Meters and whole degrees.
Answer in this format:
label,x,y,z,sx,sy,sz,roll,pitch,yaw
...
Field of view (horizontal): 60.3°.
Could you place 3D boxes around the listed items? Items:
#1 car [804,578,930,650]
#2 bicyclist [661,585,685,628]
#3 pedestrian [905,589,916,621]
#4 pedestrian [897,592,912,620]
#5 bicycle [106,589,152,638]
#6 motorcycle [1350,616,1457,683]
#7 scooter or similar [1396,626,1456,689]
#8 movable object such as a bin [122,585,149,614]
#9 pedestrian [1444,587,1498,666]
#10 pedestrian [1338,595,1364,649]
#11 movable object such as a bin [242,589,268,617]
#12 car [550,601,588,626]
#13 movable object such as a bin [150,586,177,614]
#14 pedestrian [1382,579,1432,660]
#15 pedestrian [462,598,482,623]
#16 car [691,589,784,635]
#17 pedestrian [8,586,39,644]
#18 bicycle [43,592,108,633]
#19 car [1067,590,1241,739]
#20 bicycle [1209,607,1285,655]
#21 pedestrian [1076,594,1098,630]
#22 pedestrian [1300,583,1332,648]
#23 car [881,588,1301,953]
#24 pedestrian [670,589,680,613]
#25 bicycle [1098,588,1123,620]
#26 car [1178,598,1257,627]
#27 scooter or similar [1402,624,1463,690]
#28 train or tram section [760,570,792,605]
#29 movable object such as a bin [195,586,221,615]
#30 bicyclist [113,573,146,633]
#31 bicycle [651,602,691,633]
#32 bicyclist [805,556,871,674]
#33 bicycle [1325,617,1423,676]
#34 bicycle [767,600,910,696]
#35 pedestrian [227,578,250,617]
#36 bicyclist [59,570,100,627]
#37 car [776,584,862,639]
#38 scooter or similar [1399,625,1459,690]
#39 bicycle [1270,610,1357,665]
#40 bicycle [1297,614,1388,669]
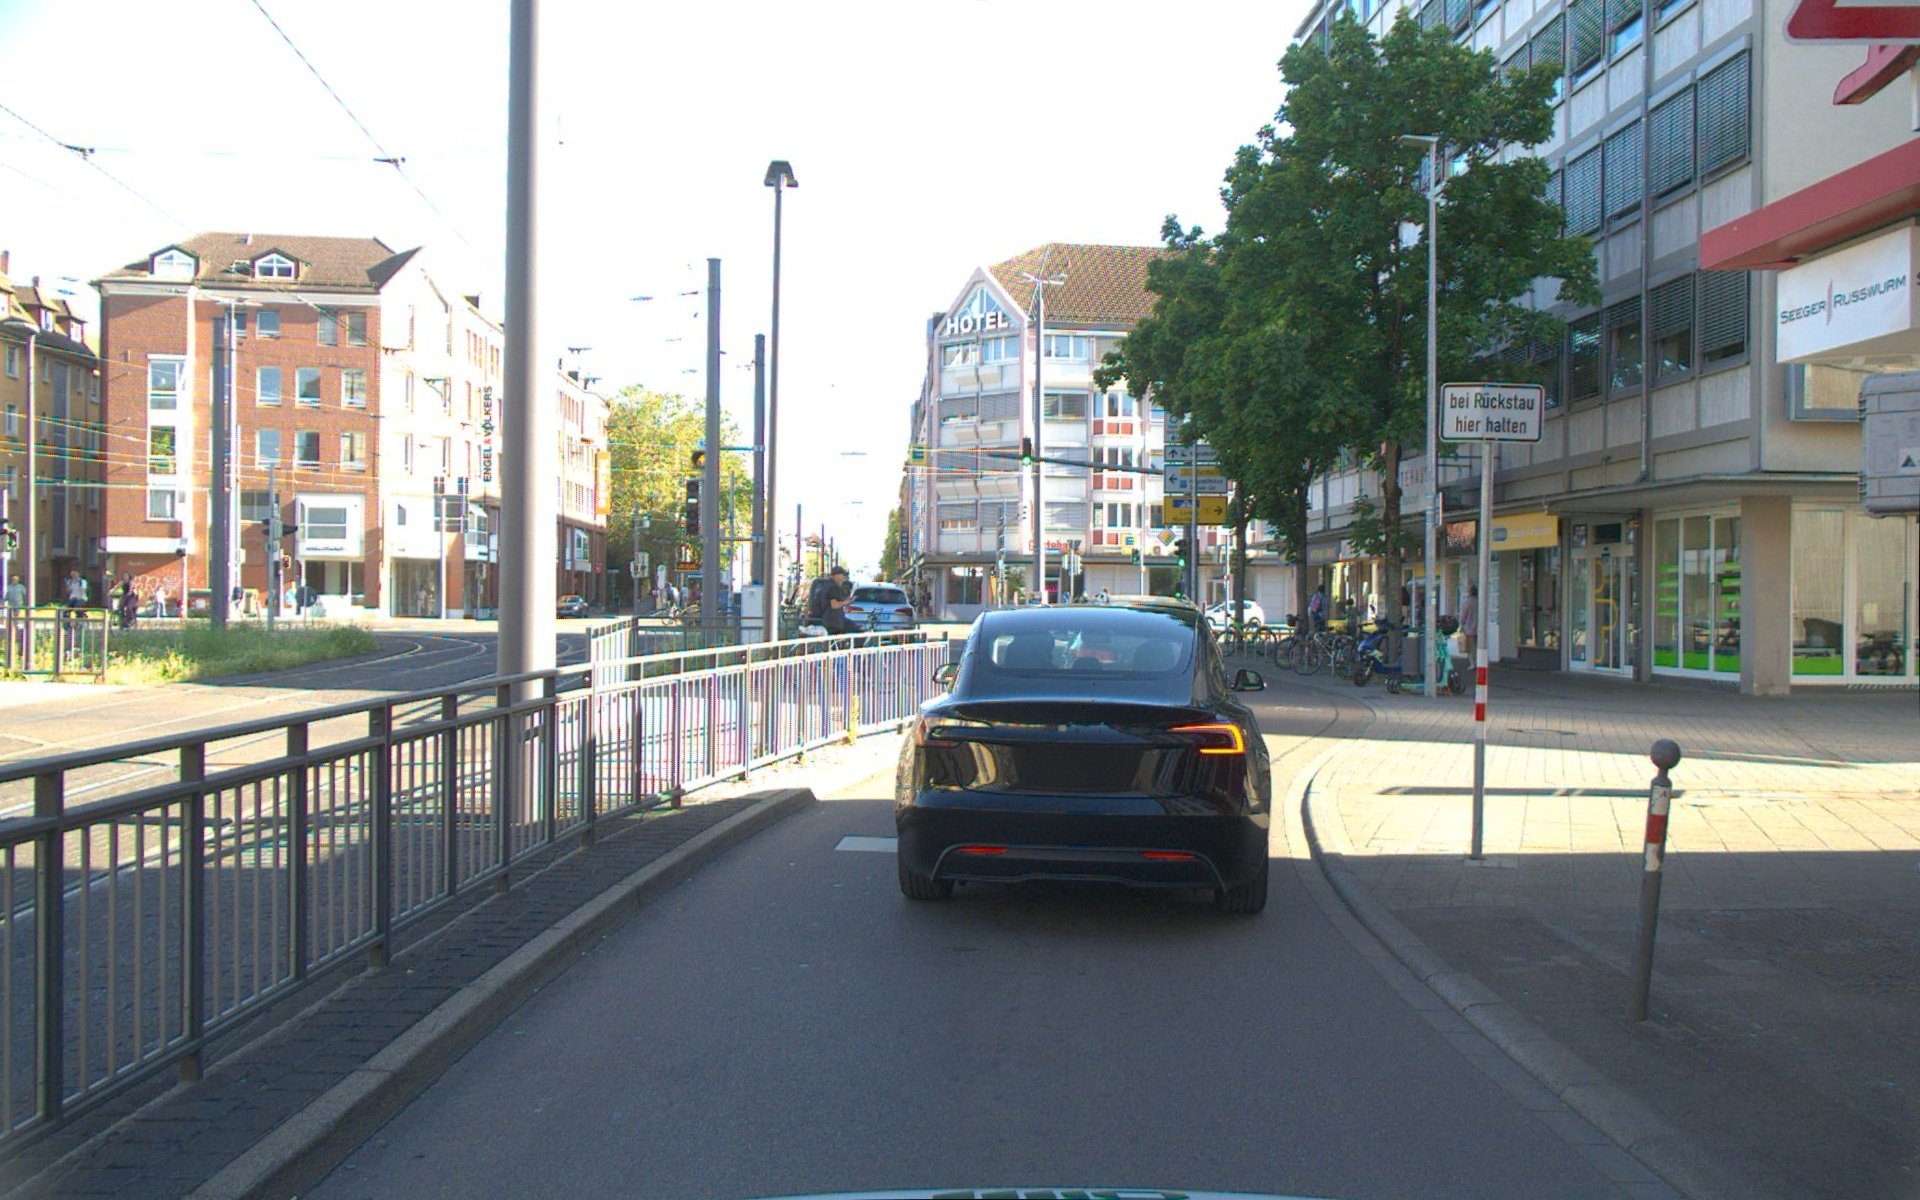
label,x,y,z,sx,sy,sz,roll,pitch,yaw
car,-2.305,0.328,40.324,1.818,1.663,3.455,1,0,-27
bicyclist,-11.939,0.268,68.827,0.609,1.803,0.817,1,-1,-44
pedestrian,-2.820,0.269,94.701,0.614,1.813,0.917,1,-1,-3
pedestrian,-3.614,0.387,107.857,0.896,1.785,0.839,1,-1,-2
bicycle,-23.267,0.375,46.352,0.563,1.313,2.022,1,0,-10
motorcycle,7.841,0.870,29.268,1.751,1.149,0.504,1,-1,-3
scooter or similar,7.720,0.950,27.387,0.943,1.045,0.160,0,0,2
movable object such as a bin,-42.806,-0.029,85.871,0.978,1.462,1.093,1,0,-10
pedestrian,10.671,0.549,34.577,0.826,1.630,0.880,1,-1,-1
pedestrian,10.586,0.585,44.831,0.631,1.447,0.621,1,-1,11
movable object such as a bin,-36.968,0.149,86.705,0.978,1.462,1.093,1,0,-10
car,-24.521,0.826,103.806,1.782,1.479,3.972,-1,0,-6
movable object such as a bin,-41.514,0.003,86.169,0.978,1.462,1.093,1,0,-10
pedestrian,9.748,0.417,36.099,0.826,1.737,0.880,1,-1,-1
pedestrian,-31.425,0.672,106.417,0.866,1.595,0.863,1,-1,21
car,-7.985,0.420,59.211,1.715,1.578,3.422,1,0,-41
pedestrian,-28.413,0.447,50.180,0.613,1.717,0.703,1,1,-13
bicycle,-23.229,0.329,43.473,0.636,1.031,1.885,1,0,1
car,2.109,0.631,18.951,1.727,1.469,4.531,1,0,4
bicycle,7.349,0.797,42.430,1.851,1.177,0.480,-1,-1,0
pedestrian,5.846,0.547,76.214,0.766,1.604,0.864,1,1,-16
pedestrian,9.785,0.422,45.478,0.825,1.751,0.880,1,-1,12
car,0.756,0.700,8.976,1.752,1.476,3.943,1,1,6
pedestrian,-18.764,0.093,108.827,0.574,1.557,0.634,1,-1,-18
bicycle,6.971,0.175,76.509,0.573,1.489,1.679,0,0,-16
car,13.470,0.660,86.576,3.766,1.457,1.801,1,-2,-6
scooter or similar,7.710,0.926,26.989,0.943,1.061,0.160,0,0,2
train or tram section,-19.865,-1.311,178.885,2.674,3.604,10.080,1,0,-3
movable object such as a bin,-39.274,0.015,86.371,0.978,1.462,1.093,1,0,-10
bicyclist,-23.266,0.086,46.337,0.577,1.678,0.805,1,-1,-9
bicycle,-12.038,0.732,68.923,0.624,1.245,2.008,1,-1,-44
bicyclist,-1.640,0.206,22.204,0.673,1.550,0.629,1,-1,-28
bicycle,7.854,0.882,31.384,1.817,1.074,0.398,-1,0,-12
bicycle,-1.625,0.639,22.209,1.800,1.233,0.635,1,-1,-29
pedestrian,-32.591,-0.108,74.700,0.682,1.740,0.929,1,-1,-7
bicyclist,-23.230,-0.048,43.627,0.650,1.479,0.730,1,-1,1
car,-4.449,0.355,51.747,1.552,1.646,3.755,1,0,-24
scooter or similar,7.715,0.939,27.187,0.936,1.057,0.160,0,0,2
bicycle,7.558,0.793,35.400,1.774,1.172,0.435,0,0,-5
bicycle,7.728,0.832,33.423,1.730,1.075,0.458,1,-1,4
